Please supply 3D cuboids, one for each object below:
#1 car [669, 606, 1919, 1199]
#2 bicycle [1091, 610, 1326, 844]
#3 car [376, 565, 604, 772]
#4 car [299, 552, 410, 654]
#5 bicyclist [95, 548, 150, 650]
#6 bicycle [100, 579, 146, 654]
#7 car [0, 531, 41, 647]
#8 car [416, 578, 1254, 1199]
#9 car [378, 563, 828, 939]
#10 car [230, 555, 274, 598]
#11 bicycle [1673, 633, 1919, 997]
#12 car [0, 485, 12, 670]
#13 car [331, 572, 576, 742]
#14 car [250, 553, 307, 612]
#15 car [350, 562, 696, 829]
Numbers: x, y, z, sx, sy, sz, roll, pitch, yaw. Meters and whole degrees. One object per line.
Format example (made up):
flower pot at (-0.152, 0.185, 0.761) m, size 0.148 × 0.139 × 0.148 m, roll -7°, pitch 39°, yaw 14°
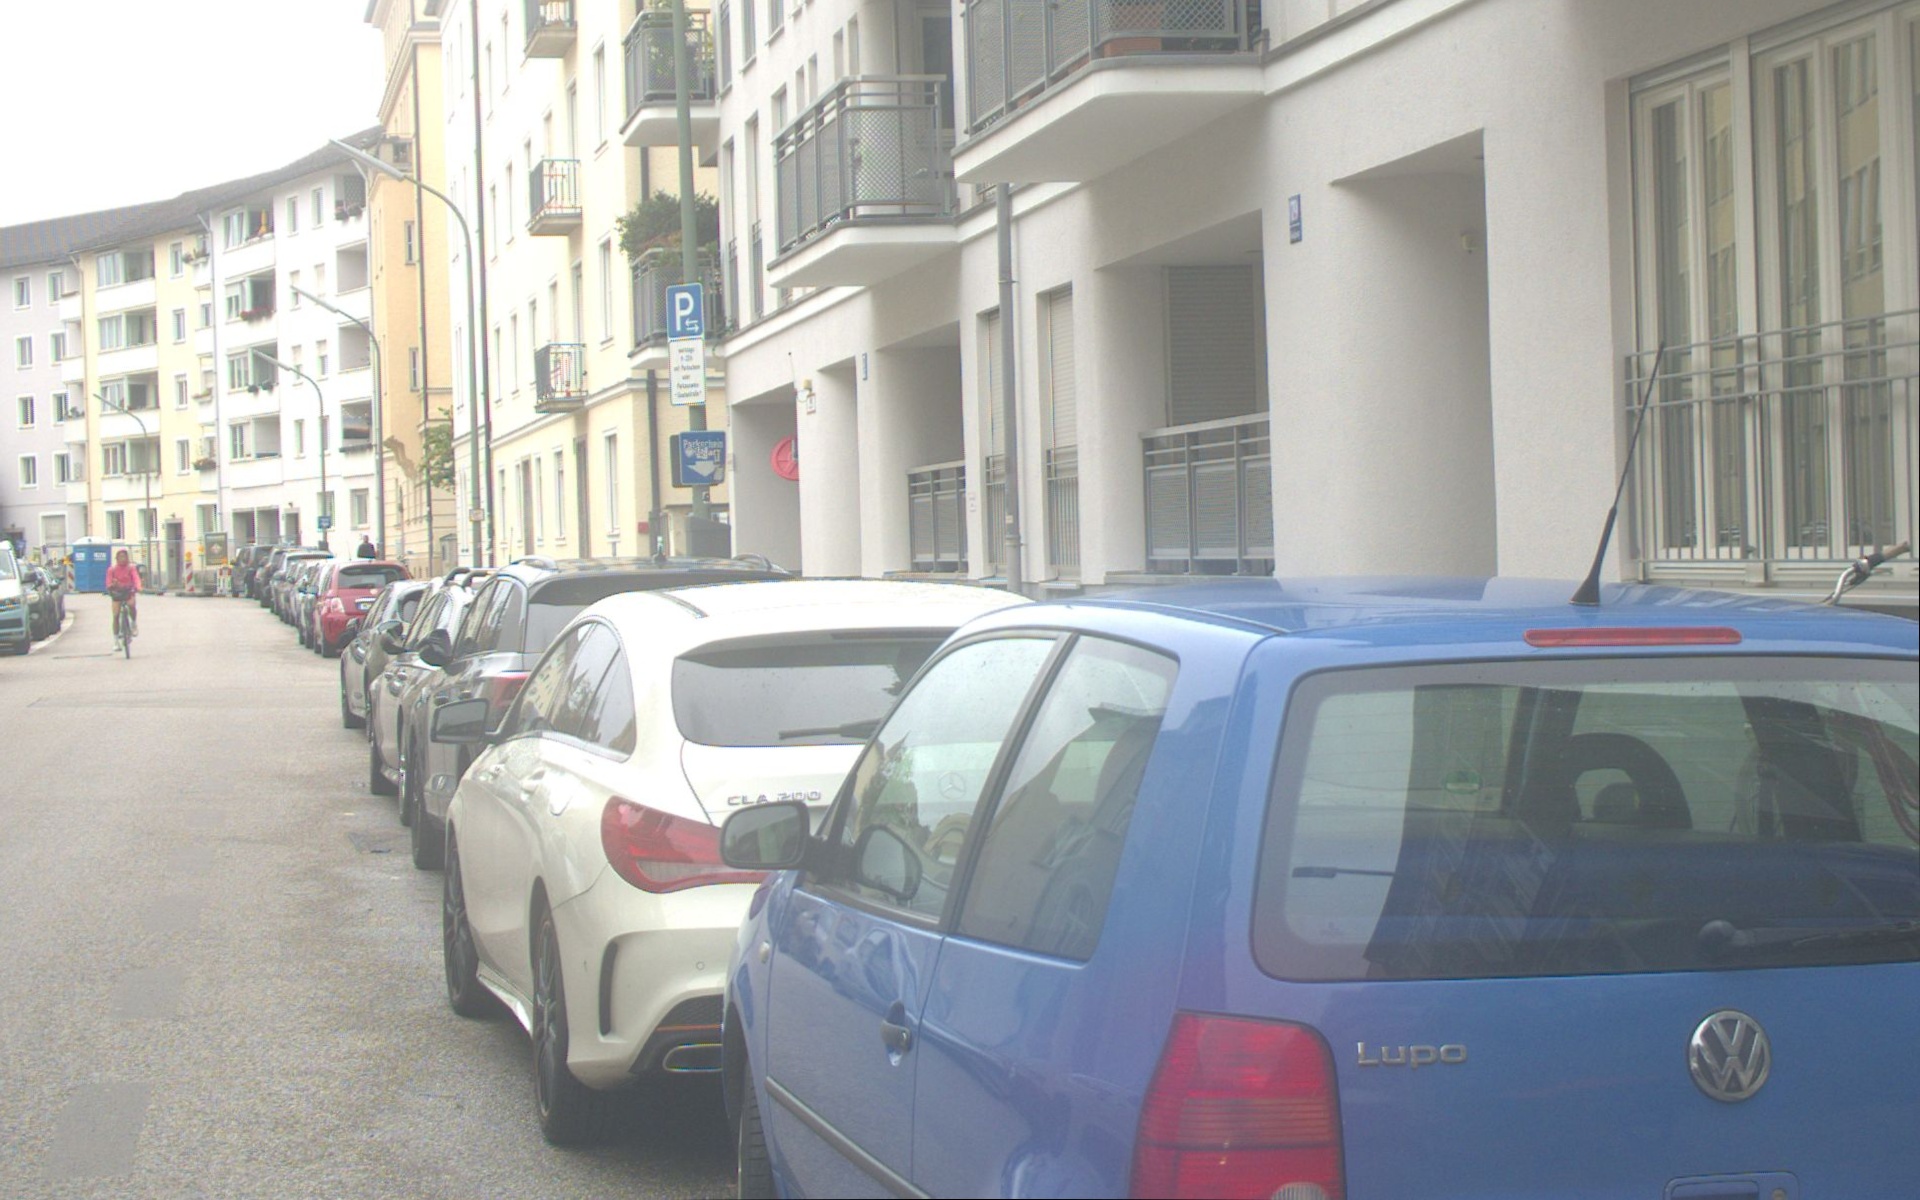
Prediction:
car at (0.527, 0.733, 5.799) m, size 1.618 × 1.407 × 3.554 m, roll 0°, pitch 0°, yaw -12°
bicycle at (1.335, 0.660, 18.884) m, size 0.627 × 1.156 × 2.128 m, roll -2°, pitch 1°, yaw -14°
car at (-3.795, 0.486, 27.391) m, size 1.519 × 1.525 × 3.527 m, roll 0°, pitch 1°, yaw -12°
car at (-9.662, 0.014, 54.735) m, size 1.595 × 1.503 × 3.802 m, roll -2°, pitch 1°, yaw -11°
bicyclist at (-13.210, -0.024, 54.259) m, size 0.694 × 1.556 × 0.967 m, roll -3°, pitch 1°, yaw -9°
bicycle at (-13.199, 0.253, 54.257) m, size 0.504 × 1.124 × 1.773 m, roll -3°, pitch 1°, yaw -9°
car at (-17.241, -0.177, 60.056) m, size 1.882 × 1.925 × 4.602 m, roll -4°, pitch 2°, yaw -11°
car at (-0.592, 0.676, 10.022) m, size 1.657 × 1.435 × 4.208 m, roll 1°, pitch 1°, yaw -13°
car at (-1.789, 0.603, 16.119) m, size 1.603 × 1.525 × 3.985 m, roll 1°, pitch 1°, yaw -13°
car at (-22.614, -0.760, 109.722) m, size 1.271 × 1.294 × 2.798 m, roll -1°, pitch 1°, yaw -13°
bicycle at (2.908, 0.620, 10.548) m, size 0.677 × 1.024 × 1.835 m, roll -2°, pitch -1°, yaw -13°
car at (-14.495, -0.260, 47.570) m, size 2.087 × 2.627 × 5.378 m, roll -2°, pitch 2°, yaw -10°
car at (-4.685, 0.477, 31.378) m, size 1.763 × 1.403 × 4.080 m, roll -1°, pitch 1°, yaw -14°
car at (-19.622, -0.530, 98.934) m, size 1.473 × 1.635 × 4.002 m, roll 0°, pitch 1°, yaw -13°
car at (-2.914, 0.532, 22.120) m, size 1.733 × 1.525 × 4.623 m, roll 1°, pitch 1°, yaw -13°
